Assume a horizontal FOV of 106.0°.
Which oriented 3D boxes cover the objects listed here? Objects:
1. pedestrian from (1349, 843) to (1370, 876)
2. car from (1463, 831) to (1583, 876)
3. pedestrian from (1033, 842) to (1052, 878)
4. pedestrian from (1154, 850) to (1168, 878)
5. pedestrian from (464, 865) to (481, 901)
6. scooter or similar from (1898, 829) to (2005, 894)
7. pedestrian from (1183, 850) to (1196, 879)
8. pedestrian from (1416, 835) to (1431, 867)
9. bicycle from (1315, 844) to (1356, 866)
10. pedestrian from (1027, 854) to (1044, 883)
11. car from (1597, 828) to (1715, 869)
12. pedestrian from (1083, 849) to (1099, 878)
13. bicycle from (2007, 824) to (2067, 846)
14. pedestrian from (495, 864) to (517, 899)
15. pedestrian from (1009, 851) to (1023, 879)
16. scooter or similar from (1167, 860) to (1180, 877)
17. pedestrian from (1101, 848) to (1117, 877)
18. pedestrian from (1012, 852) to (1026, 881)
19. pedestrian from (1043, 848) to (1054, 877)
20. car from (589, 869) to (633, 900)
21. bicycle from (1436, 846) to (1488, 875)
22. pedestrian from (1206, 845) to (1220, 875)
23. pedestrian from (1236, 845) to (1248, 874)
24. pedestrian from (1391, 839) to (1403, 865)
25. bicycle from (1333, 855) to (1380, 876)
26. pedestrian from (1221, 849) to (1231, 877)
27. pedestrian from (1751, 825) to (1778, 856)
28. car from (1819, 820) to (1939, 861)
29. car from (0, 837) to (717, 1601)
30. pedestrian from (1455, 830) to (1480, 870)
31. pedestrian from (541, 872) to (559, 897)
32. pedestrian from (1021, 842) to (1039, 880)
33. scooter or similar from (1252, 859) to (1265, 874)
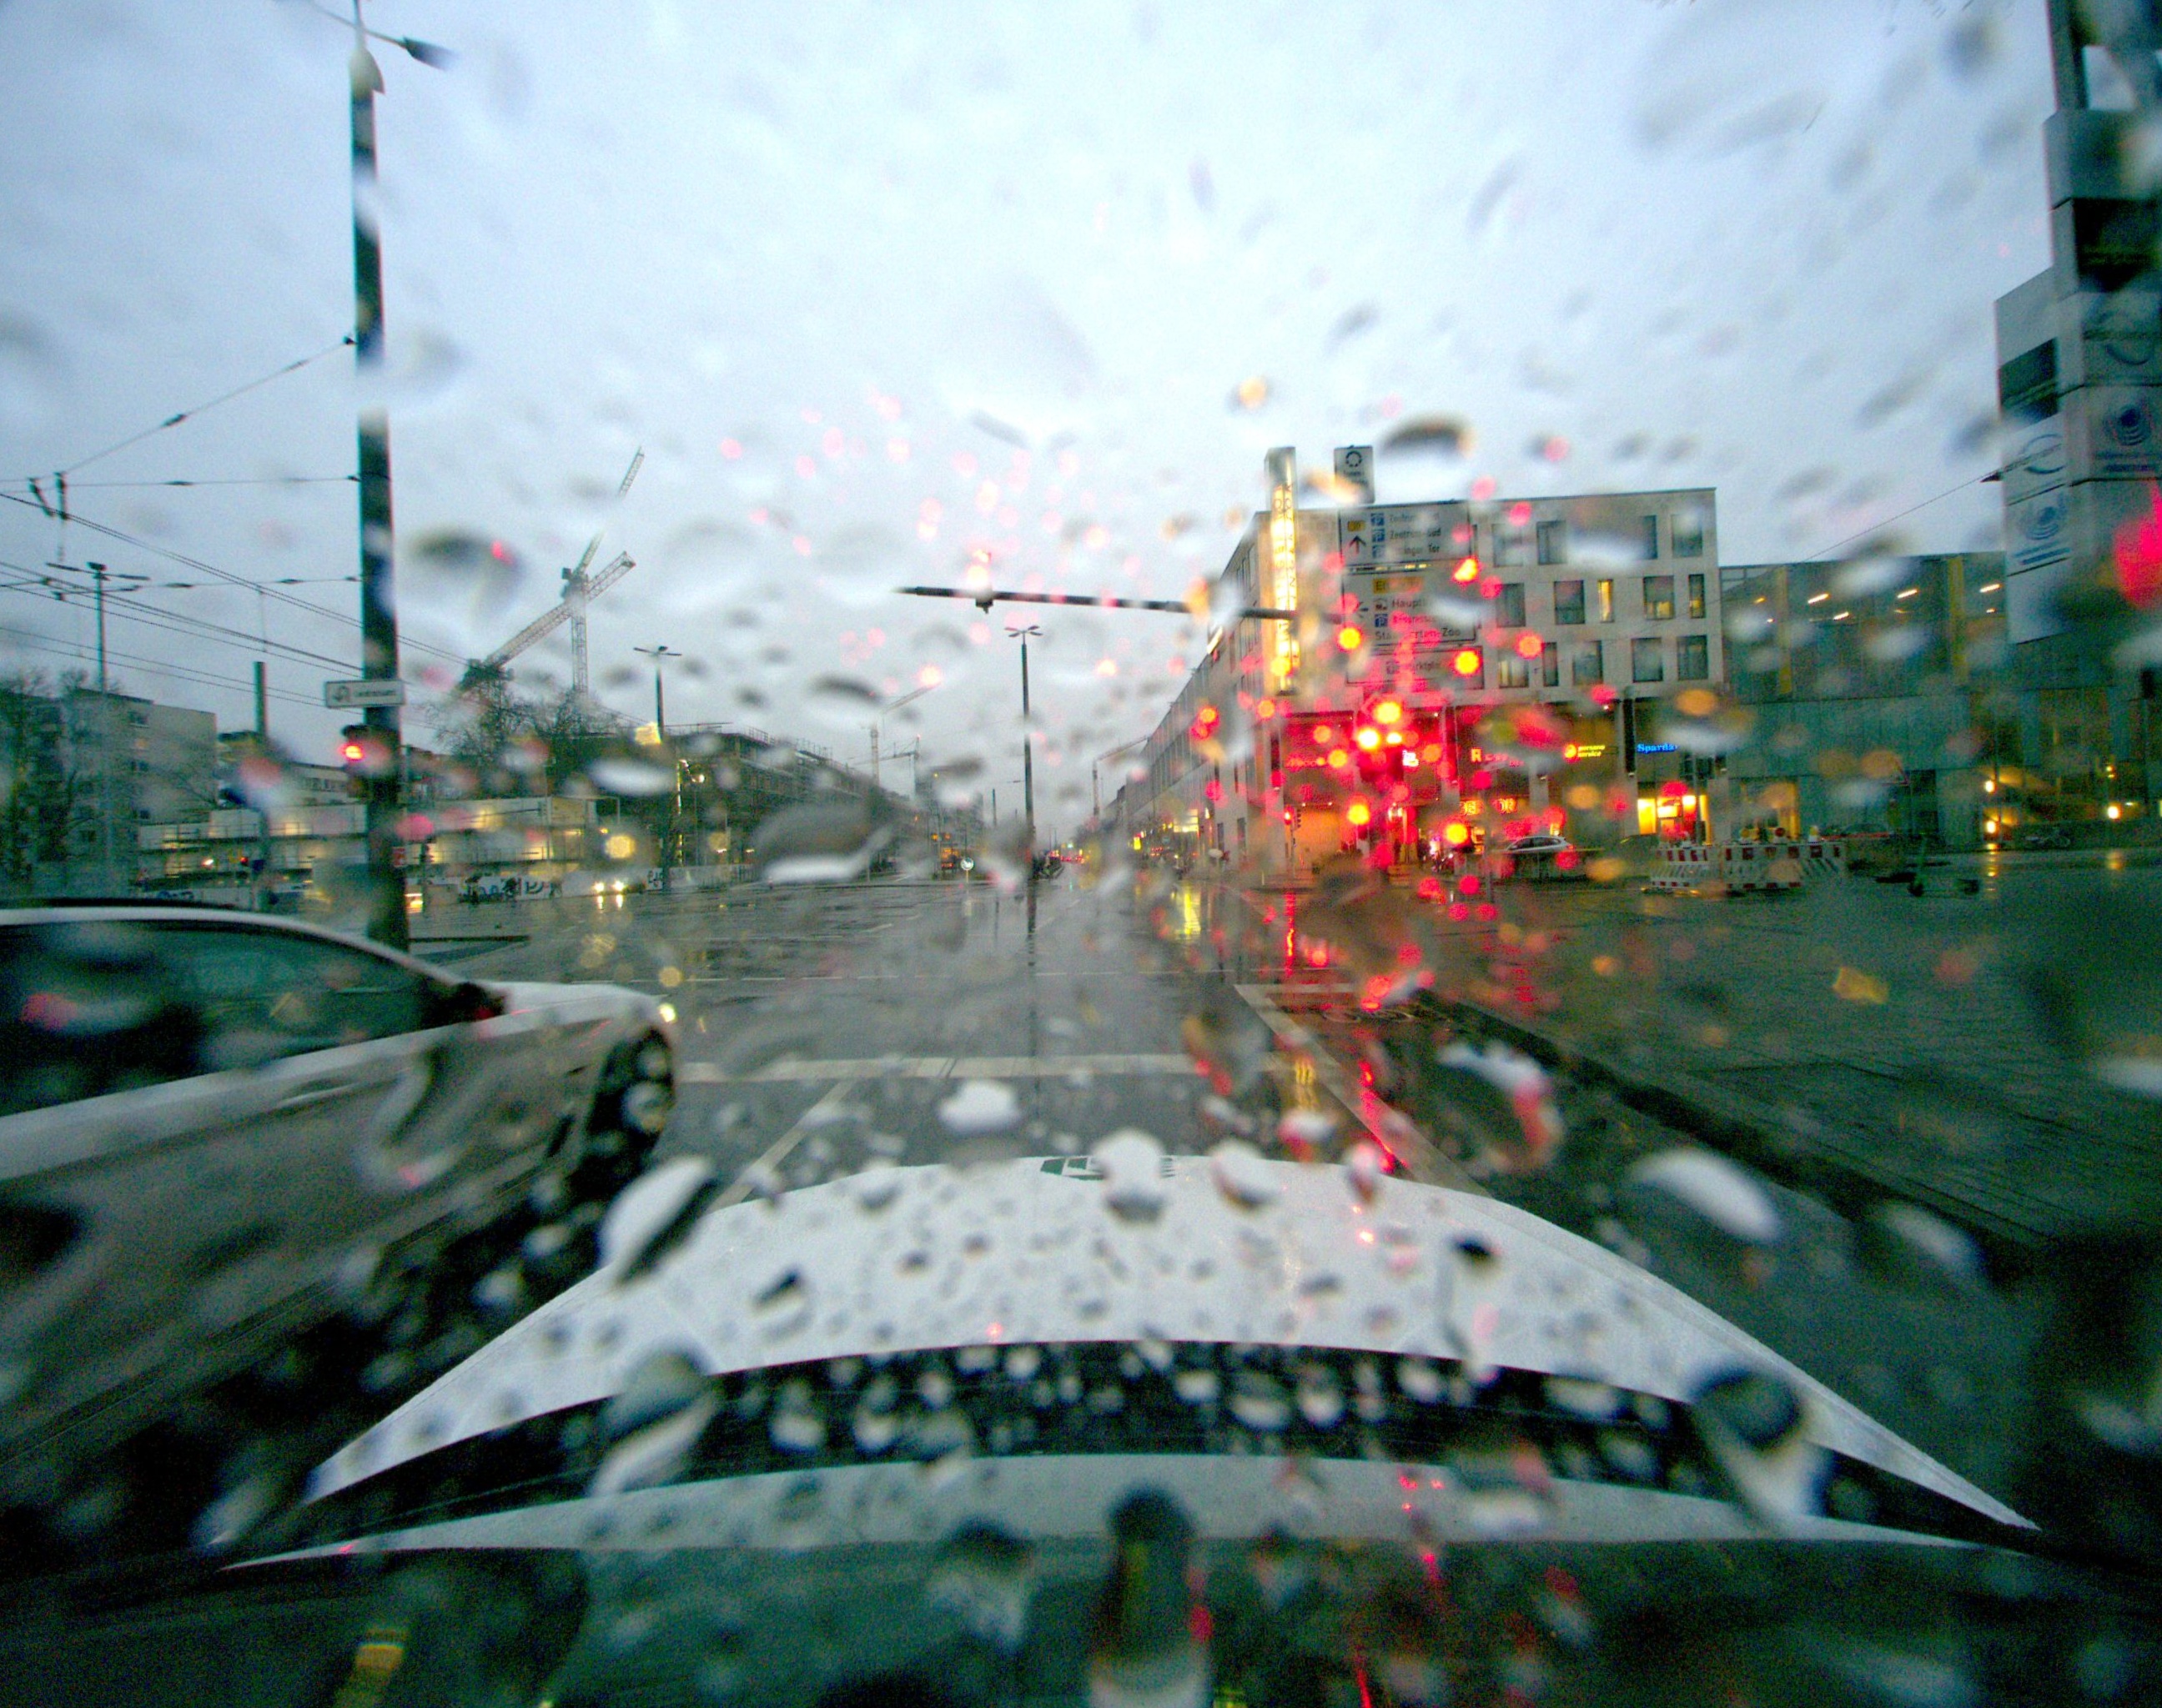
[{"bbox_3d":[13.502,0.269,39.518,0.810,1.570,0.538,-2,0,8],"label":"pedestrian"},{"bbox_3d":[19.418,-0.031,35.907,4.283,1.761,1.709,-2,0,4],"label":"car"},{"bbox_3d":[-2.187,0.338,46.403,0.781,2.013,0.606,-2,-1,-36],"label":"pedestrian"},{"bbox_3d":[4.914,0.608,49.844,0.736,1.667,0.402,-2,0,13],"label":"pedestrian"},{"bbox_3d":[-35.556,1.703,47.583,0.507,2.014,0.638,-3,-3,-9],"label":"pedestrian"},{"bbox_3d":[15.859,0.132,14.874,0.603,1.130,1.236,-2,0,2],"label":"scooter or similar"},{"bbox_3d":[6.744,0.649,50.583,0.700,1.760,0.652,-2,0,2],"label":"pedestrian"},{"bbox_3d":[18.326,-0.173,43.604,0.530,1.685,0.552,-3,-1,39],"label":"pedestrian"},{"bbox_3d":[16.277,0.047,52.122,2.420,1.329,0.634,-2,0,-4],"label":"bicycle"},{"bbox_3d":[-2.643,0.841,47.356,0.808,1.619,0.542,-3,-1,39],"label":"pedestrian"},{"bbox_3d":[25.333,-0.229,35.964,4.037,1.582,1.676,-3,-1,-1],"label":"car"},{"bbox_3d":[0.589,0.547,48.434,0.826,1.679,0.621,-2,0,7],"label":"pedestrian"},{"bbox_3d":[48.825,-0.973,41.635,0.613,1.033,2.138,-2,0,4],"label":"bicycle"},{"bbox_3d":[-34.292,1.638,48.584,0.792,2.014,0.745,-2,-2,-8],"label":"pedestrian"},{"bbox_3d":[-3.891,0.661,48.676,0.704,1.619,0.681,-2,0,3],"label":"pedestrian"},{"bbox_3d":[5.646,0.904,49.674,0.736,0.993,0.402,-2,0,13],"label":"scooter or similar"},{"bbox_3d":[1.690,0.517,49.140,0.837,1.688,0.679,-2,0,10],"label":"pedestrian"},{"bbox_3d":[-3.568,0.722,47.244,0.704,1.619,0.613,-2,0,-1],"label":"pedestrian"},{"bbox_3d":[-1.975,0.522,49.593,0.617,1.746,0.612,-2,0,-4],"label":"pedestrian"},{"bbox_3d":[-33.490,2.117,58.122,1.760,2.013,3.977,-2,0,-17],"label":"car"},{"bbox_3d":[15.587,0.274,33.381,1.831,1.093,0.620,-2,-1,17],"label":"bicycle"},{"bbox_3d":[8.014,0.353,49.451,0.700,1.760,0.668,-2,0,2],"label":"pedestrian"},{"bbox_3d":[10.138,0.348,51.388,0.615,1.760,0.482,-2,0,1],"label":"pedestrian"},{"bbox_3d":[21.178,-0.113,54.614,0.530,1.718,0.505,-3,-1,39],"label":"pedestrian"},{"bbox_3d":[13.382,0.554,39.590,2.116,0.991,0.543,-1,-1,9],"label":"bicycle"},{"bbox_3d":[9.341,0.593,52.430,0.510,1.760,0.374,-2,0,1],"label":"pedestrian"},{"bbox_3d":[36.304,-0.726,43.259,0.791,1.631,0.709,-1,-1,2],"label":"pedestrian"},{"bbox_3d":[34.828,-0.575,35.592,3.558,1.582,1.676,-3,-1,-1],"label":"car"},{"bbox_3d":[-3.119,0.765,2.248,1.903,1.520,4.924,-2,0,1],"label":"car"},{"bbox_3d":[15.808,-0.175,33.304,0.774,1.595,0.616,-2,0,17],"label":"pedestrian"},{"bbox_3d":[-34.575,1.970,53.000,0.643,1.529,0.794,-3,-1,-7],"label":"pedestrian"},{"bbox_3d":[-2.871,0.368,45.517,0.691,2.087,0.606,-2,-1,-38],"label":"pedestrian"},{"bbox_3d":[11.566,0.801,53.160,0.738,0.916,0.401,-2,0,3],"label":"scooter or similar"}]
